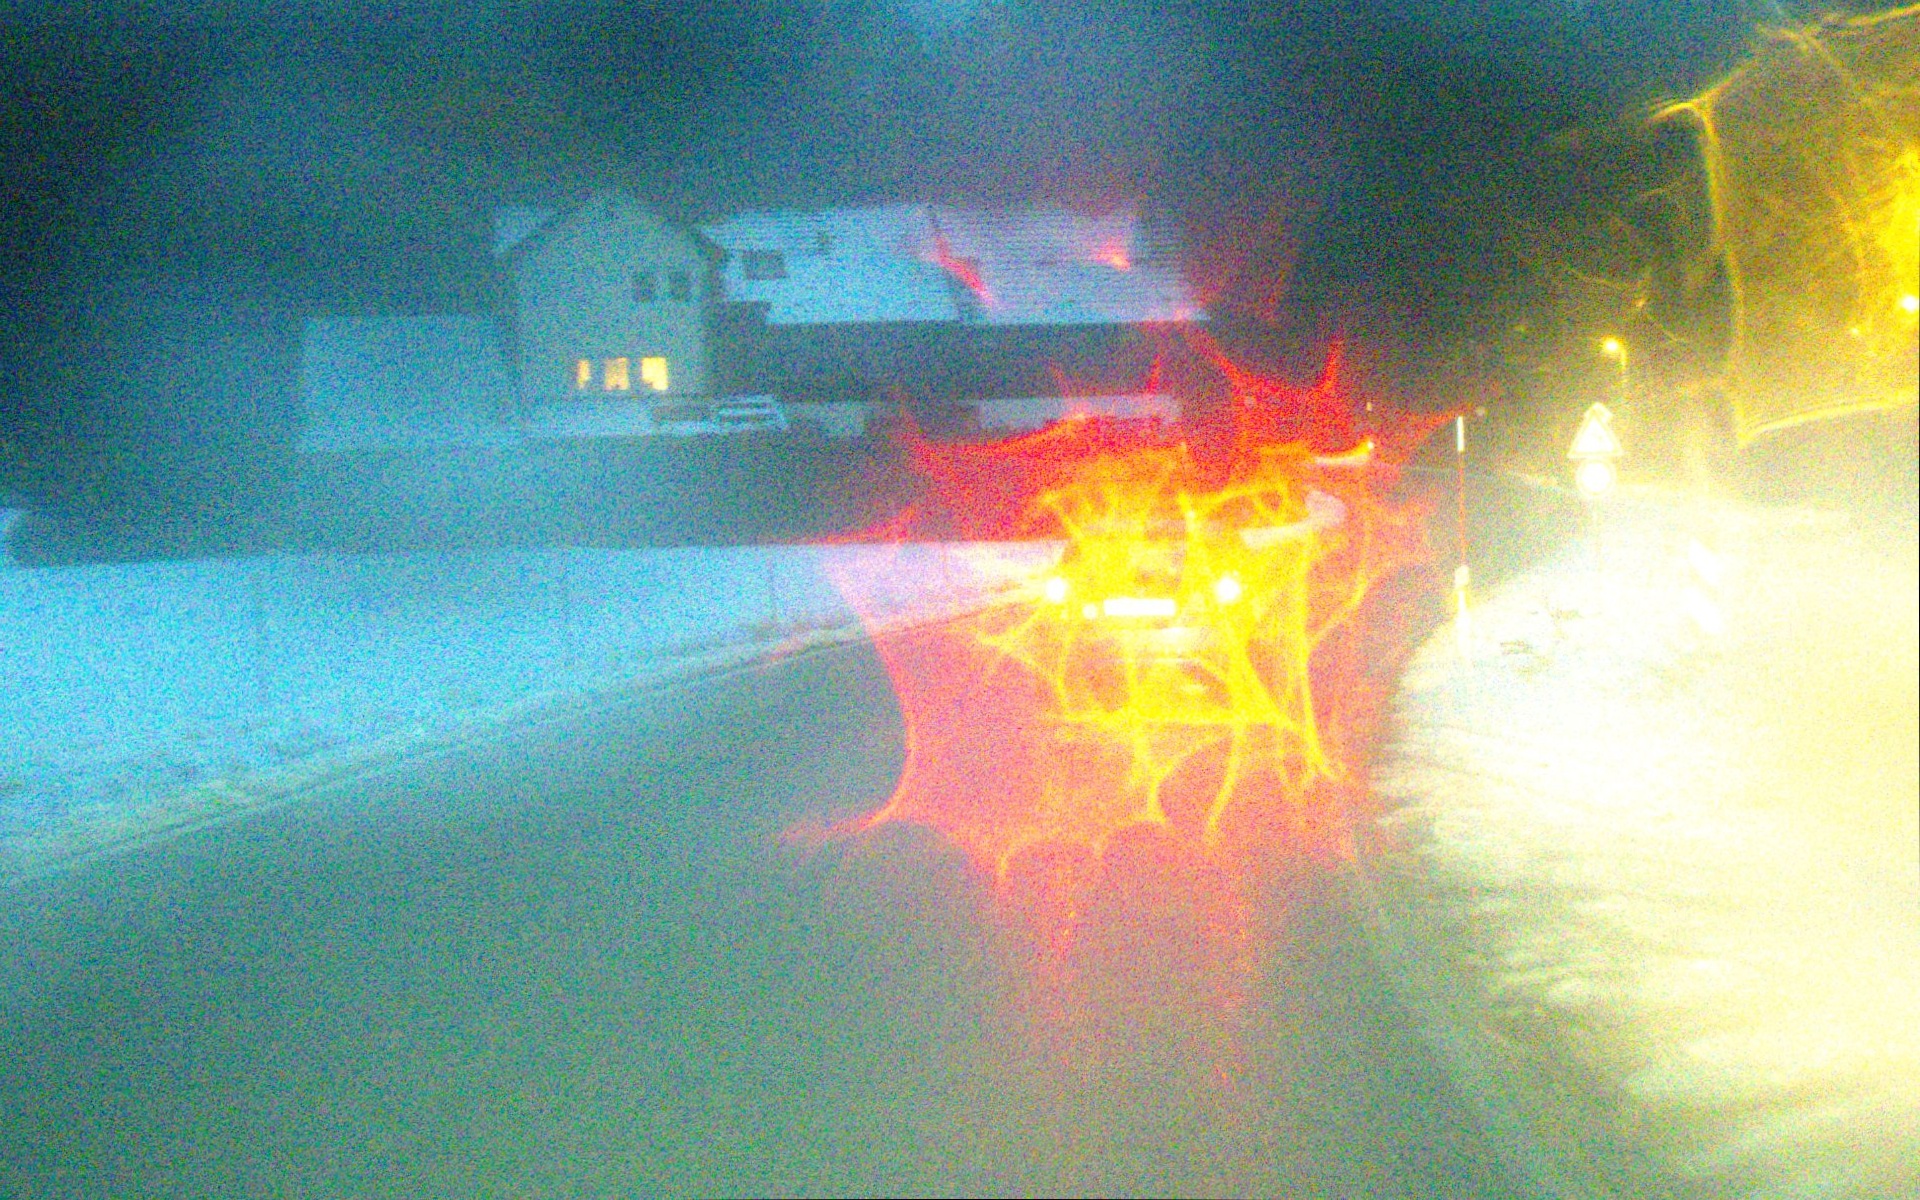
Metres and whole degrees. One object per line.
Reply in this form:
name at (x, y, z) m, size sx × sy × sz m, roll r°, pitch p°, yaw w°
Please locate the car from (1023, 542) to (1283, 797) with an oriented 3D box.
car at (1.460, 0.500, 27.068) m, size 1.822 × 1.790 × 3.577 m, roll -3°, pitch 0°, yaw 1°
